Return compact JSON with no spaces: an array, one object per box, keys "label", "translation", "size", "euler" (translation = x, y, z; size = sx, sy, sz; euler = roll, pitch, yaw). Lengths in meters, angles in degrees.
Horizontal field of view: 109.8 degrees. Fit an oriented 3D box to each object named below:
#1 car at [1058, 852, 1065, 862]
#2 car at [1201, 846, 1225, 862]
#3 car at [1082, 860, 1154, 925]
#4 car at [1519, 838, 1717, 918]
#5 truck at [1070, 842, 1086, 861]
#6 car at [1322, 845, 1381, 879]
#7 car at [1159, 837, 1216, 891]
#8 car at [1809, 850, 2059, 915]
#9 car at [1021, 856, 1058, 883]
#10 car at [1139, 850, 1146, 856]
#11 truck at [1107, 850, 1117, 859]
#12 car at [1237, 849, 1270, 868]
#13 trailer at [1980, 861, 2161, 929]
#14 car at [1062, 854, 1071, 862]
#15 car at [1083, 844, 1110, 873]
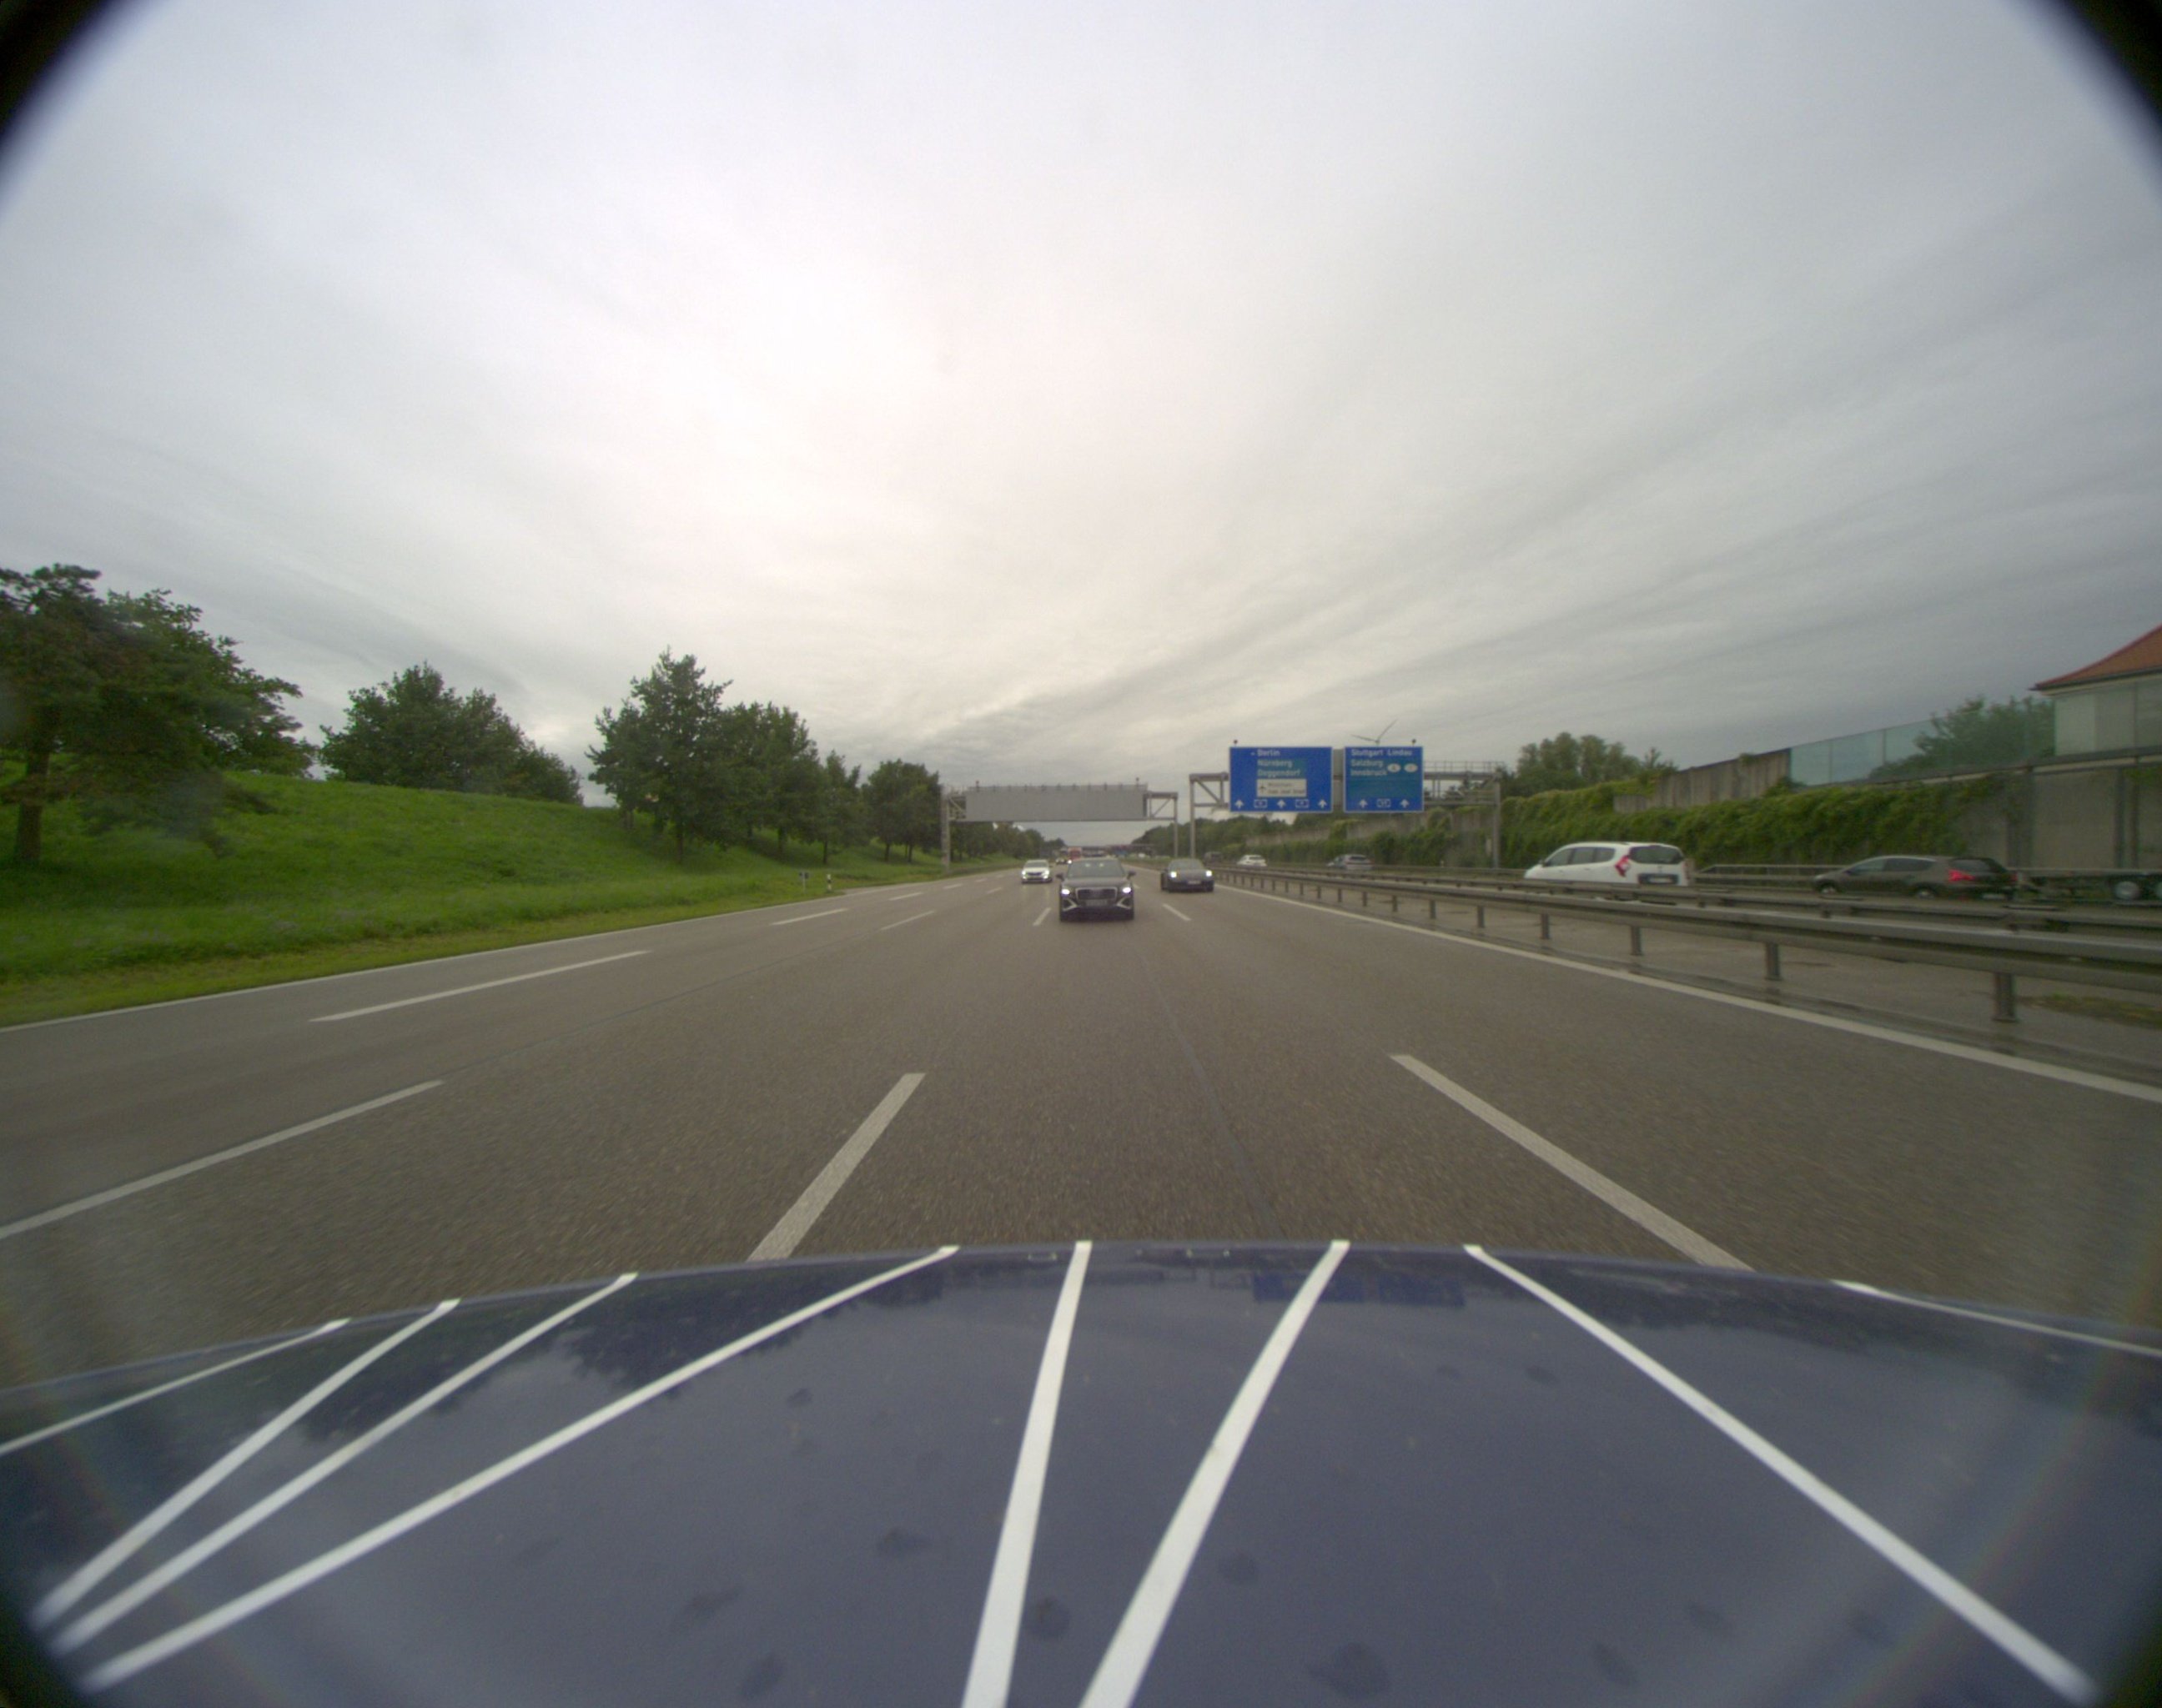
[{"label":"car","translation":[-4.483,0.680,173.852],"size":[1.455,2.002,3.677],"euler":[-2,1,1]},{"label":"car","translation":[17.814,-0.065,102.848],"size":[2.214,1.960,6.270],"euler":[-2,1,1]},{"label":"car","translation":[0.869,0.901,19.175],"size":[1.616,1.403,3.326],"euler":[-2,1,0]},{"label":"car","translation":[13.423,0.530,19.412],"size":[1.792,1.741,4.535],"euler":[-2,1,-1]},{"label":"truck","translation":[-0.501,-0.519,154.027],"size":[2.836,3.634,10.670],"euler":[-2,1,1]},{"label":"car","translation":[17.164,0.444,48.458],"size":[1.937,2.002,4.731],"euler":[-2,1,-1]},{"label":"car","translation":[4.276,0.378,31.004],"size":[1.725,2.002,3.851],"euler":[-2,1,1]},{"label":"car","translation":[23.410,0.700,21.176],"size":[1.960,1.543,4.521],"euler":[-2,1,2]},{"label":"car","translation":[-2.564,0.918,48.194],"size":[1.998,1.555,4.910],"euler":[-1,0,1]},{"label":"car","translation":[20.301,-0.394,250.935],"size":[2.132,1.901,6.533],"euler":[-2,1,1]},{"label":"truck","translation":[6.906,0.157,168.193],"size":[1.998,2.002,4.000],"euler":[-2,0,1]},{"label":"car","translation":[13.974,0.372,61.752],"size":[1.605,1.398,4.764],"euler":[3,0,0]},{"label":"trailer","translation":[23.326,0.860,16.209],"size":[2.135,1.260,5.247],"euler":[-2,1,1]},{"label":"car","translation":[-3.829,1.082,199.173],"size":[1.998,2.002,4.000],"euler":[-2,1,2]},{"label":"car","translation":[1.577,0.431,77.442],"size":[2.459,2.726,8.265],"euler":[-2,1,1]}]
